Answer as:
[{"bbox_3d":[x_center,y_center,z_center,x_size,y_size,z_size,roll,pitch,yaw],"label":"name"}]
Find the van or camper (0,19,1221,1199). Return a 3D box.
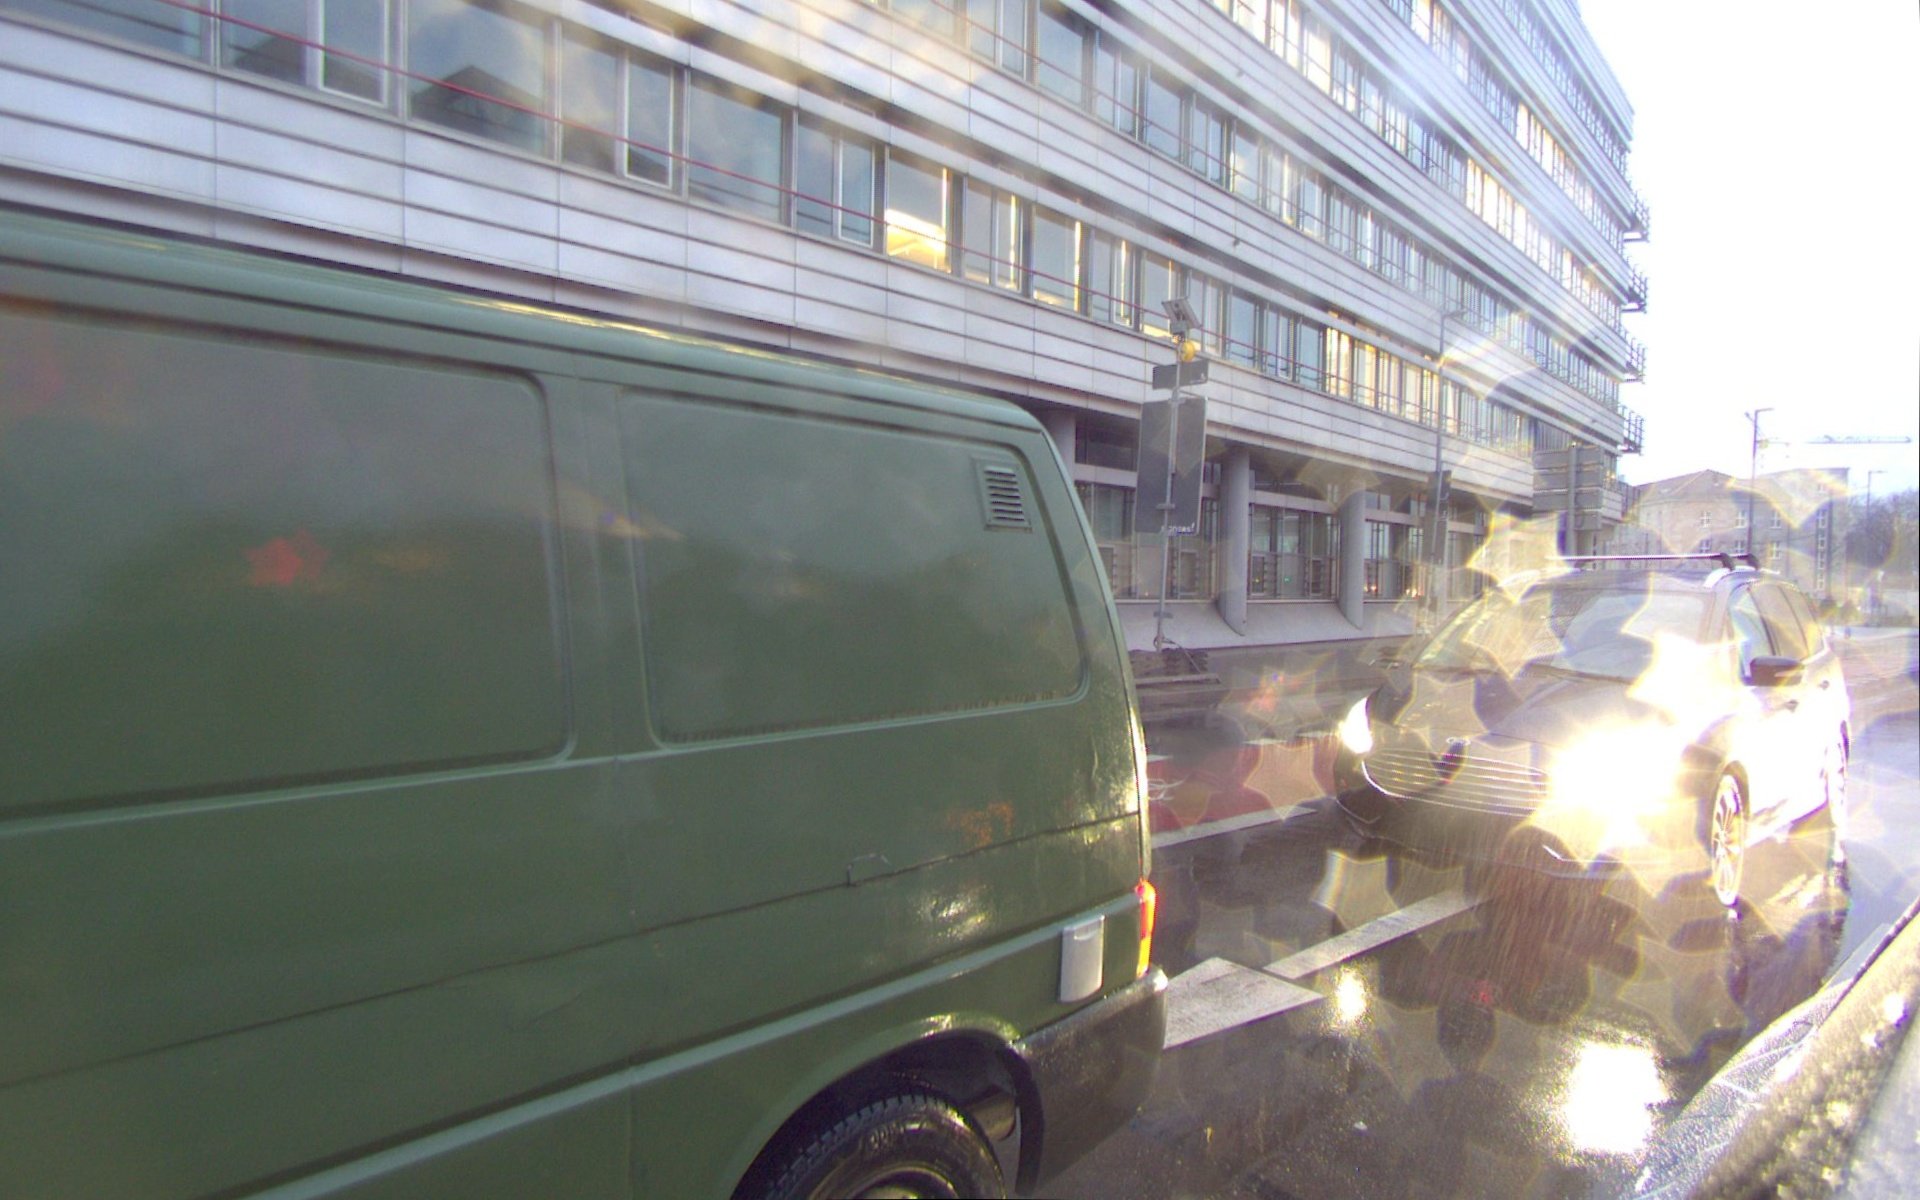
[{"bbox_3d":[-1.672,0.456,1.312,4.341,1.931,1.760,0,0,-41],"label":"van or camper"}]

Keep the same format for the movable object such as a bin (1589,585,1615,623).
[{"bbox_3d":[24.842,0.152,39.152,0.826,1.446,0.665,0,1,-44],"label":"movable object such as a bin"}]

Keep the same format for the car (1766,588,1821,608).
[{"bbox_3d":[81.936,-0.222,99.565,1.757,1.829,3.740,1,1,-26],"label":"car"}]

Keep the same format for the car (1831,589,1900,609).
[{"bbox_3d":[74.296,-0.111,83.070,1.743,1.556,3.775,1,1,-24],"label":"car"}]

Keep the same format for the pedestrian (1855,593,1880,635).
[{"bbox_3d":[37.657,0.588,41.996,0.870,1.689,0.615,0,3,-44],"label":"pedestrian"}]

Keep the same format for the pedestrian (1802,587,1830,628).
[{"bbox_3d":[36.959,0.311,43.691,0.953,1.722,0.746,0,4,-44],"label":"pedestrian"}]

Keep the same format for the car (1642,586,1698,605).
[{"bbox_3d":[68.617,-0.461,97.854,1.958,1.693,4.013,0,1,-24],"label":"car"}]

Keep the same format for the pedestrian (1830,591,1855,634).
[{"bbox_3d":[37.108,0.516,42.545,0.870,1.723,0.650,0,3,-44],"label":"pedestrian"}]

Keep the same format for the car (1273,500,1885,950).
[{"bbox_3d":[4.089,0.500,6.328,4.587,1.834,1.887,0,0,-39],"label":"car"}]

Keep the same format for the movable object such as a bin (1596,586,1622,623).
[{"bbox_3d":[25.501,0.167,39.736,0.826,1.446,0.665,0,1,-44],"label":"movable object such as a bin"}]

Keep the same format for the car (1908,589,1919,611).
[{"bbox_3d":[76.594,0.067,78.580,1.743,1.730,3.932,0,1,-26],"label":"car"}]

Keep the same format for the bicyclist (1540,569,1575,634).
[{"bbox_3d":[16.909,0.038,28.637,0.793,1.820,0.670,0,1,-45],"label":"bicyclist"}]

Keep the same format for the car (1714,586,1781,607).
[{"bbox_3d":[71.071,-0.313,91.419,1.958,1.782,4.386,0,1,-24],"label":"car"}]
